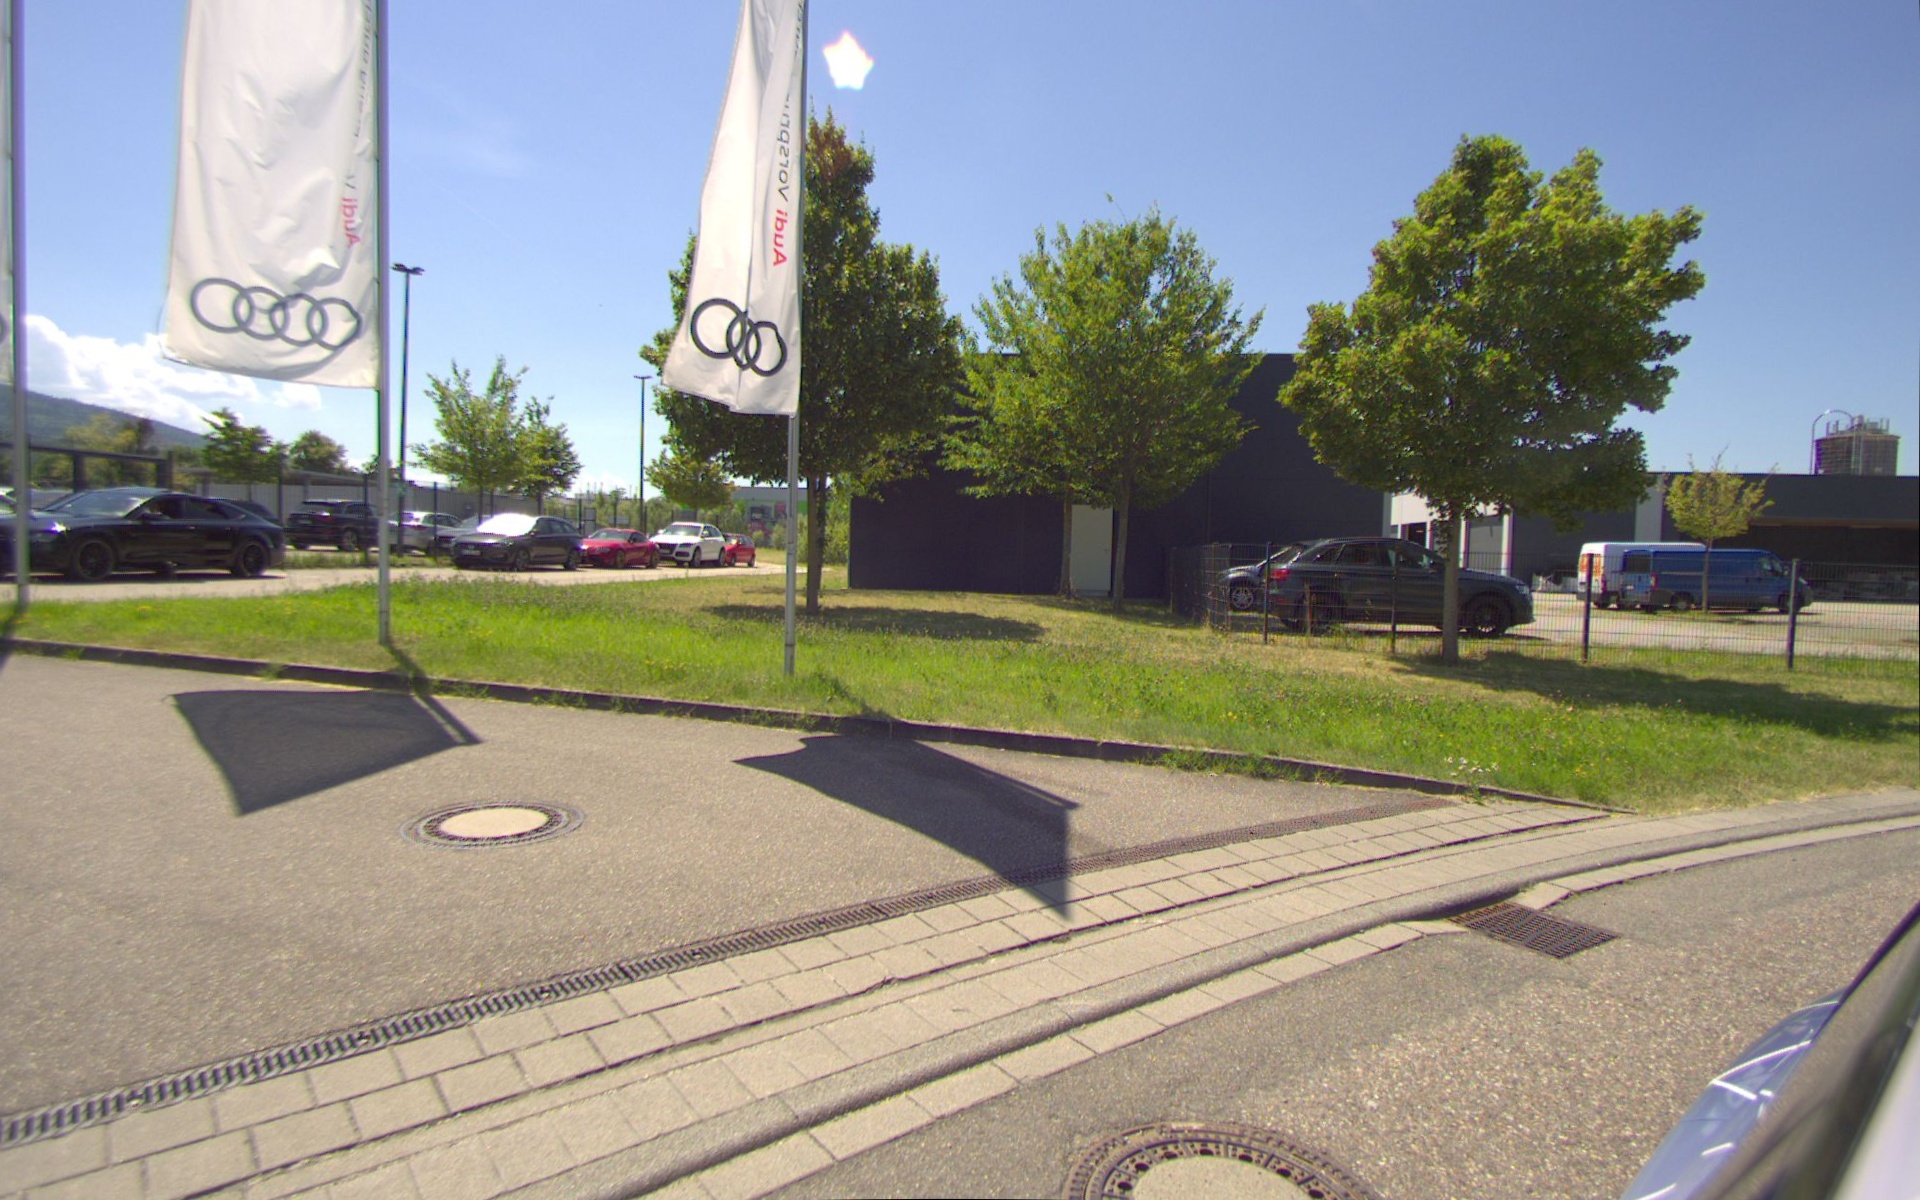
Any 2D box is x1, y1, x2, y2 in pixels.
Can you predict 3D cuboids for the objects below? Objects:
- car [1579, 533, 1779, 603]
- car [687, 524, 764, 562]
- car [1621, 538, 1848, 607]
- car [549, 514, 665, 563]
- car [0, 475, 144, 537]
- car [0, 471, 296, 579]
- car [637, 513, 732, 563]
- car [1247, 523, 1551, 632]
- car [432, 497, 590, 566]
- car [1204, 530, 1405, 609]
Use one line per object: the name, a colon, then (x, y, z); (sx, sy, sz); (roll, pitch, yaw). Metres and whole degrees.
car: (26.430, -1.172, 37.402); (5.581, 2.487, 2.193); (0, 2, 7)
car: (-10.092, -2.482, 43.850); (1.795, 1.458, 4.104); (4, 4, 9)
car: (26.167, -0.961, 34.416); (5.733, 2.251, 2.142); (0, 3, 7)
car: (-11.259, -1.964, 32.597); (1.751, 1.373, 4.164); (4, 4, 9)
car: (-25.558, -2.604, 28.344); (2.075, 1.575, 3.999); (3, 4, 3)
car: (-13.082, -1.180, 15.957); (1.751, 1.418, 4.564); (4, 4, 9)
car: (-10.349, -2.347, 38.350); (1.795, 1.666, 4.387); (4, 4, 9)
car: (7.067, -0.414, 16.697); (4.209, 1.621, 1.778); (1, 3, 7)
car: (-11.875, -1.818, 27.127); (1.751, 1.585, 4.397); (4, 4, 9)
car: (8.024, -0.753, 23.925); (4.101, 1.585, 1.778); (3, 3, 7)
